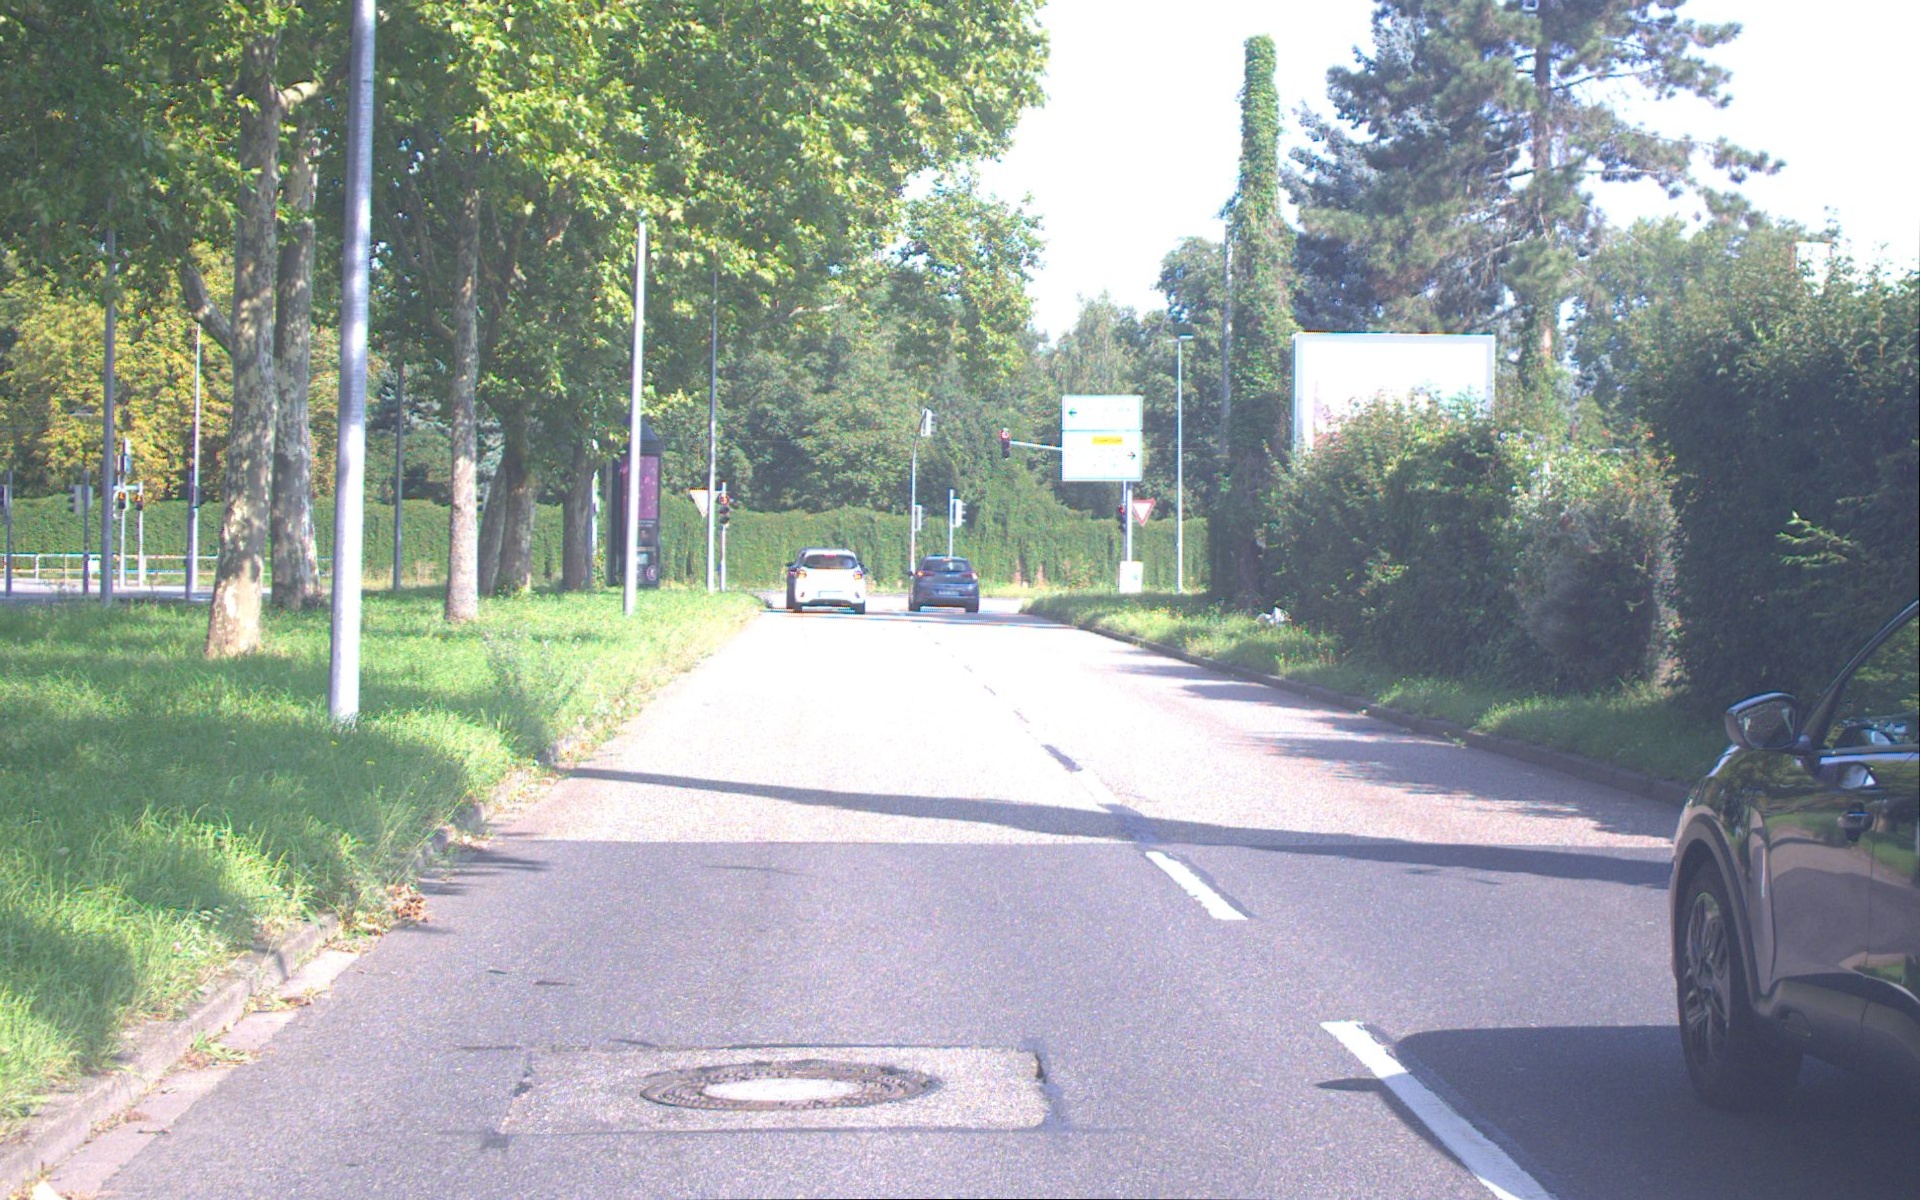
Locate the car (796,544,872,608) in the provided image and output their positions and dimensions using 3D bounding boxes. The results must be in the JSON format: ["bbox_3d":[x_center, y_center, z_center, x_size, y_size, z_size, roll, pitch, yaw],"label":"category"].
[{"bbox_3d":[-2.973,-0.569,81.754,1.687,1.457,4.000,1,0,-1],"label":"car"}]

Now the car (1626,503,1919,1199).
[{"bbox_3d":[2.845,0.582,7.893,1.645,1.583,4.255,0,0,-2],"label":"car"}]

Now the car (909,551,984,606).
[{"bbox_3d":[-0.372,-0.569,90.536,1.797,1.396,4.000,1,0,-2],"label":"car"}]
